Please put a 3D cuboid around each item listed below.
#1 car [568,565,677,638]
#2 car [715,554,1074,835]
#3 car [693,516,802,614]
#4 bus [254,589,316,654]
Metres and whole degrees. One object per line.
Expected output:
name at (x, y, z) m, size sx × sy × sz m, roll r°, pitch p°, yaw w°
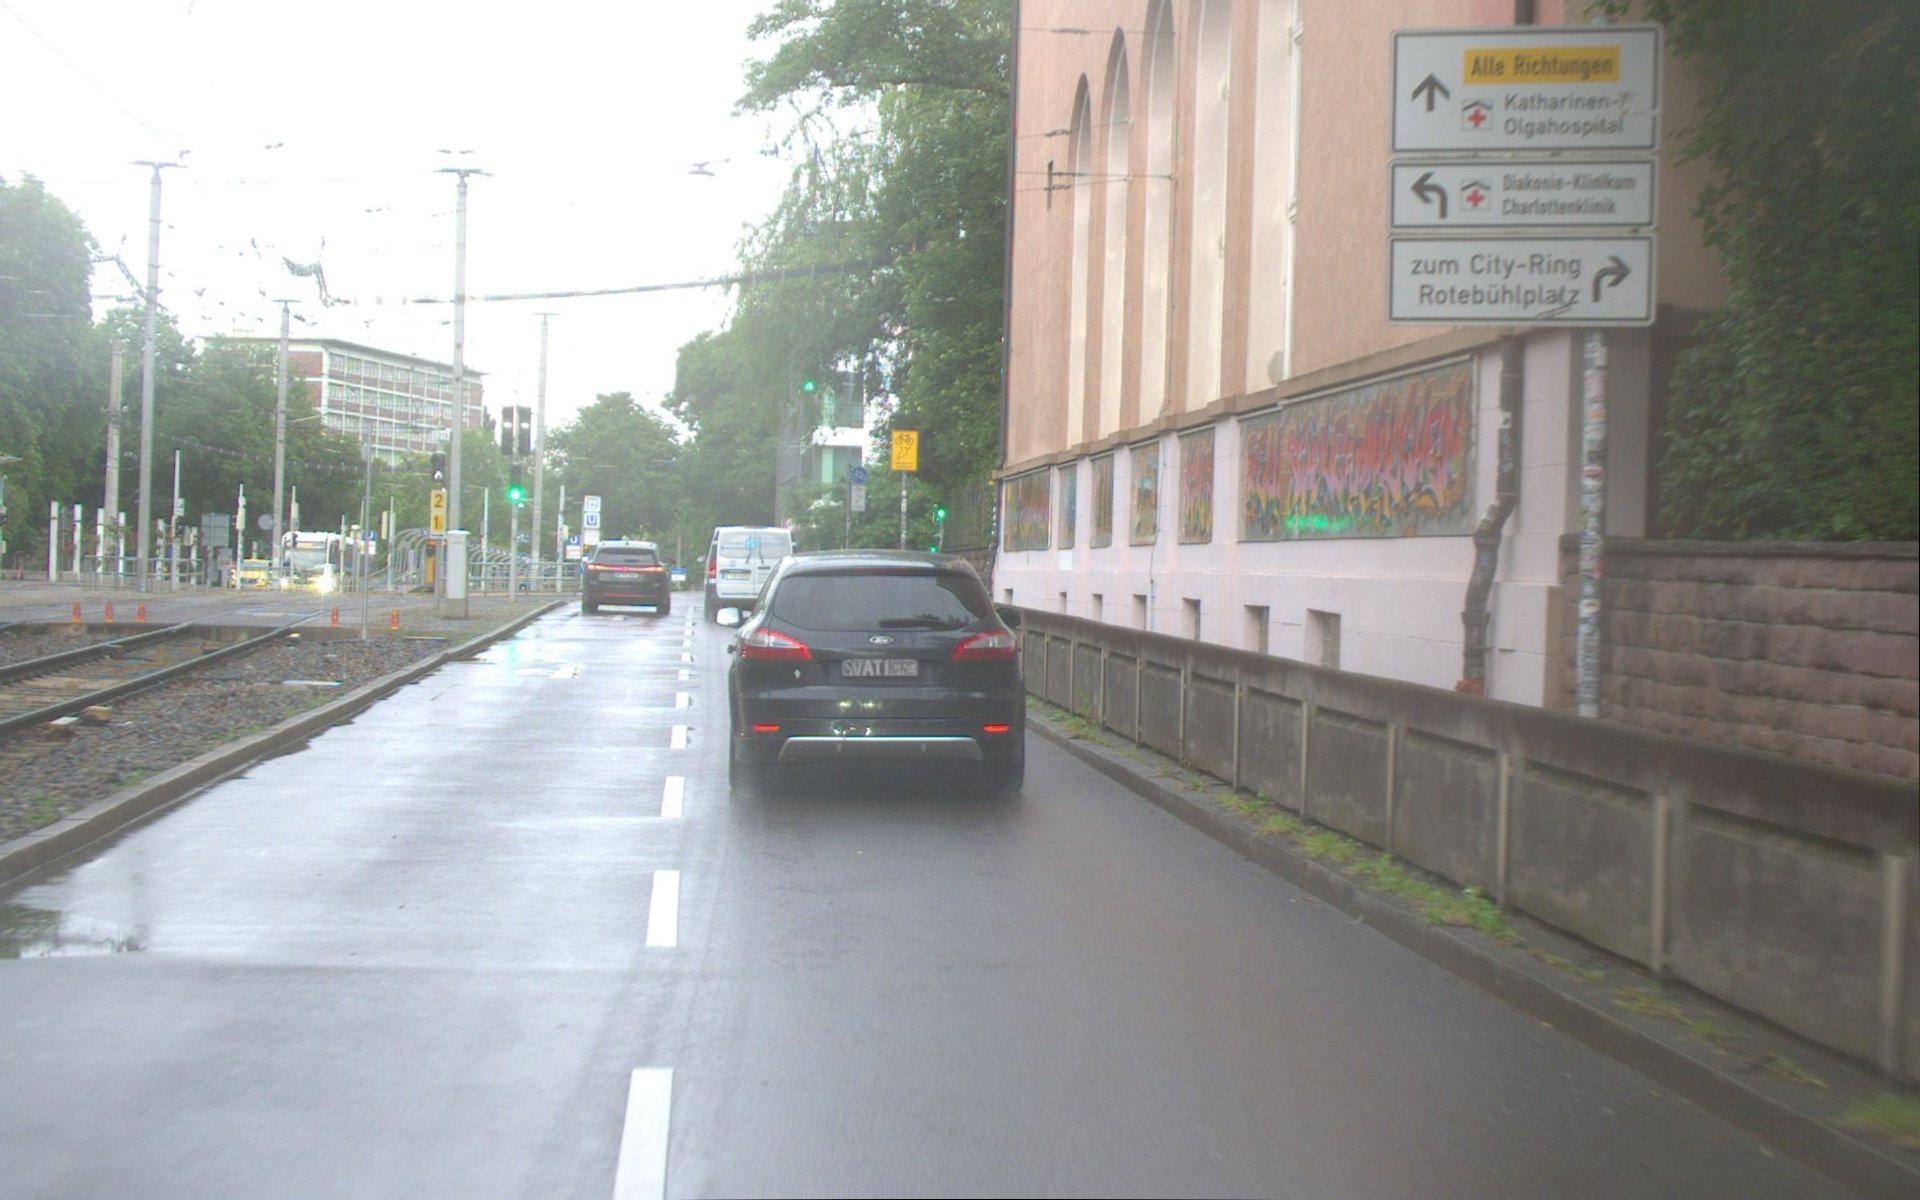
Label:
car at (-7.191, 0.032, 73.688) m, size 2.098 × 1.501 × 4.732 m, roll 0°, pitch 0°, yaw -3°
car at (-0.535, 0.534, 22.188) m, size 2.035 × 1.579 × 4.393 m, roll 2°, pitch 0°, yaw -4°
car at (-4.224, -0.696, 68.829) m, size 2.035 × 1.833 × 4.392 m, roll 2°, pitch 0°, yaw -2°
bus at (-35.441, 1.102, 180.763) m, size 3.076 × 3.289 × 12.526 m, roll 0°, pitch 0°, yaw -11°
